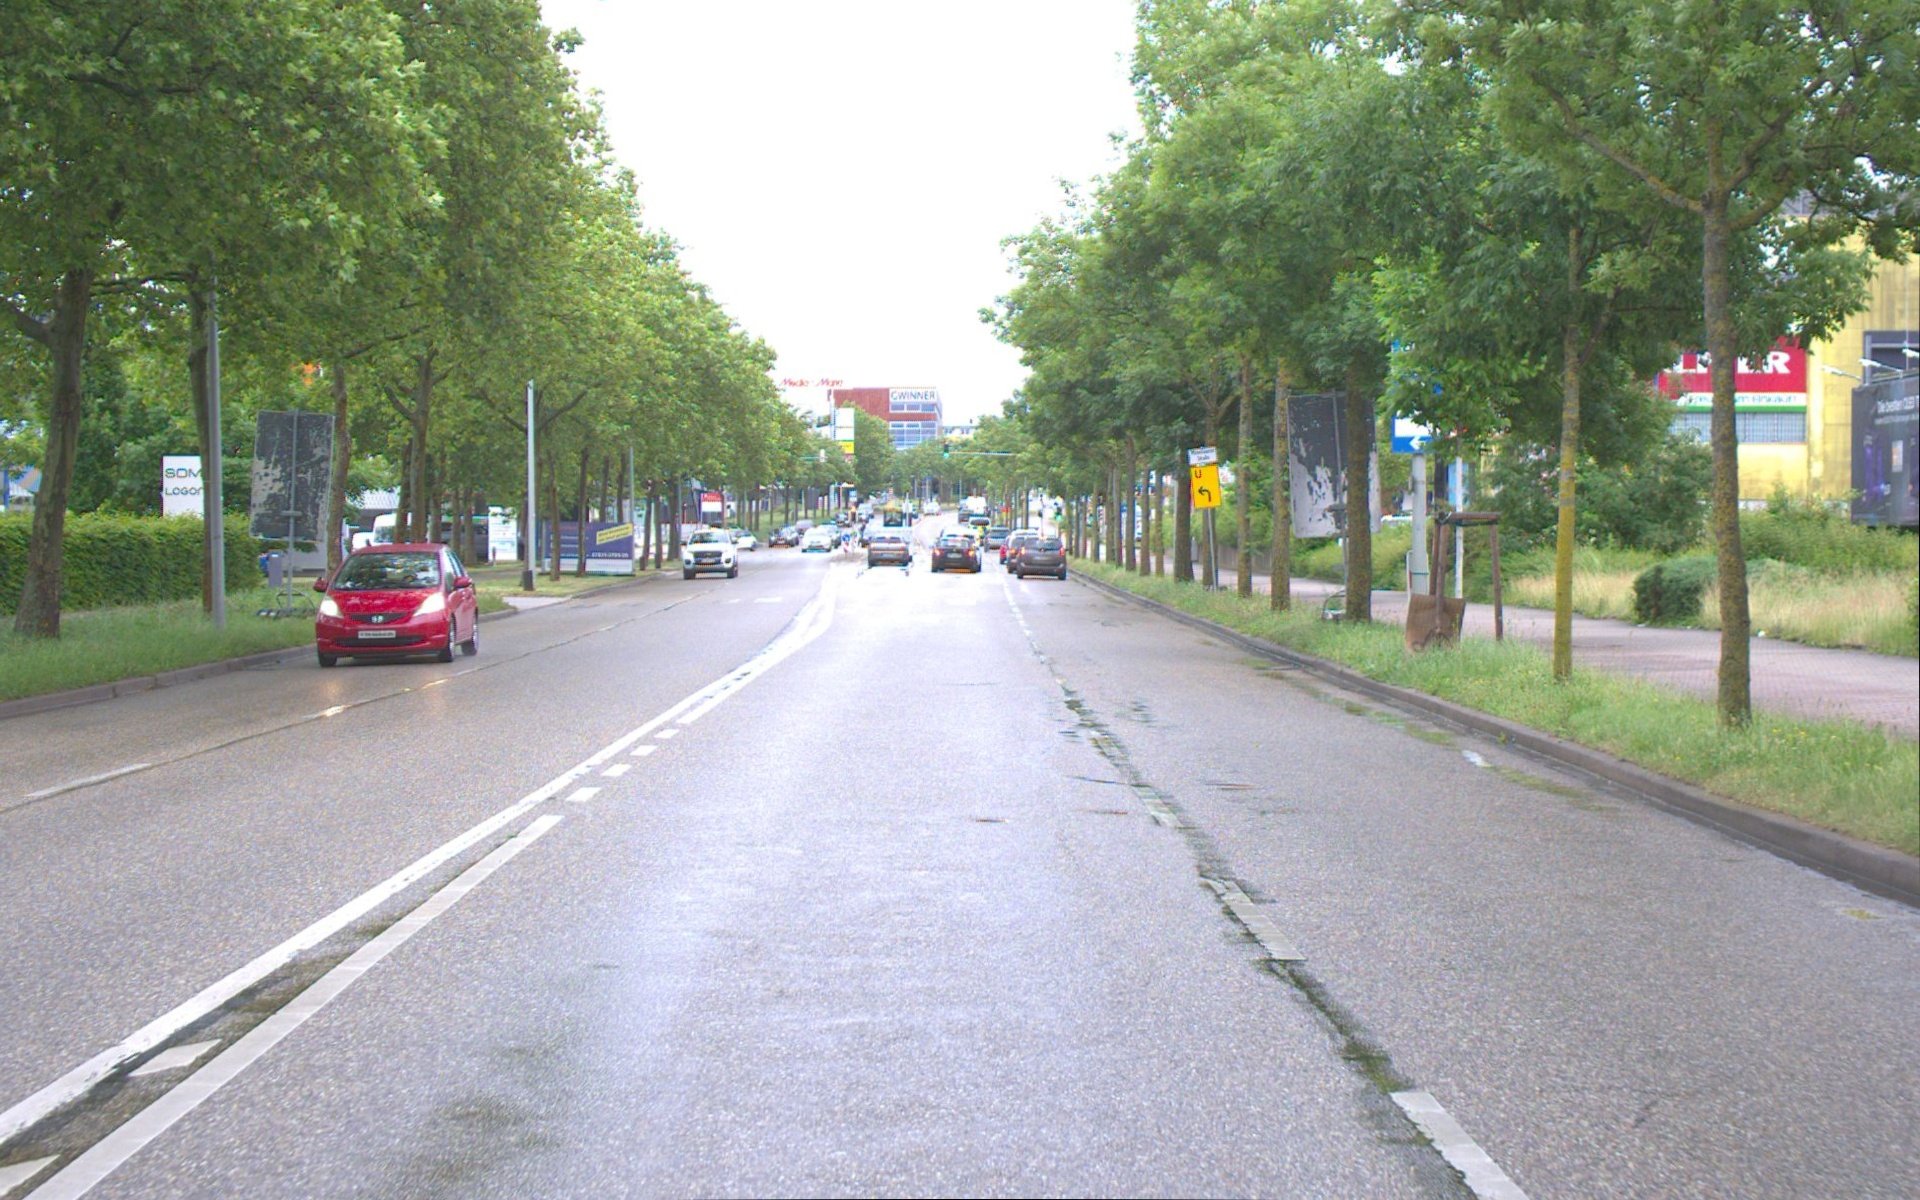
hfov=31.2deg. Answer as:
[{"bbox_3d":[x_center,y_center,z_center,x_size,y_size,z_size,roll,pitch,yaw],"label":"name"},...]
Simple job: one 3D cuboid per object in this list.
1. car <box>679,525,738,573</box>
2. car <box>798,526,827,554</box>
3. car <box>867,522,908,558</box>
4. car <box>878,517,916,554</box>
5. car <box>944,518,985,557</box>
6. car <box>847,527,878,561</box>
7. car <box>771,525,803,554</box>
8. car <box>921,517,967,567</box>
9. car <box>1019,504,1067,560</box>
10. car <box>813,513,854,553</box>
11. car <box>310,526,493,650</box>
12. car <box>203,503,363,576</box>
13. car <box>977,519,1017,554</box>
[{"bbox_3d":[-9.236,-1.896,126.674,1.704,1.731,4.000,-1,1,2],"label":"car"},{"bbox_3d":[-9.413,-3.844,220.011,1.826,1.722,4.001,-1,1,-2],"label":"car"},{"bbox_3d":[-3.467,-2.884,164.302,1.745,1.695,4.000,-1,1,1],"label":"car"},{"bbox_3d":[-3.260,-3.354,178.943,1.891,1.870,4.124,-1,1,0],"label":"car"},{"bbox_3d":[0.213,-2.829,154.972,1.745,1.731,4.000,-1,1,1],"label":"car"},{"bbox_3d":[-5.865,-3.346,206.233,1.826,2.007,4.001,-1,1,-2],"label":"car"},{"bbox_3d":[-12.330,-4.340,244.962,2.216,2.007,4.001,-1,1,-2],"label":"car"},{"bbox_3d":[-0.637,-2.405,141.478,1.745,2.007,4.000,-1,1,1],"label":"car"},{"bbox_3d":[3.081,-2.535,127.823,1.745,2.007,4.000,-1,1,1],"label":"car"},{"bbox_3d":[-6.495,-3.450,177.349,1.993,2.007,4.000,-1,1,-1],"label":"car"},{"bbox_3d":[-7.183,-0.189,44.530,1.726,1.512,3.821,-1,1,0],"label":"car"},{"bbox_3d":[-18.500,-1.659,94.095,3.987,1.918,1.826,-1,1,1],"label":"car"},{"bbox_3d":[1.905,-3.291,177.874,1.993,1.787,4.000,-1,1,-1],"label":"car"}]
